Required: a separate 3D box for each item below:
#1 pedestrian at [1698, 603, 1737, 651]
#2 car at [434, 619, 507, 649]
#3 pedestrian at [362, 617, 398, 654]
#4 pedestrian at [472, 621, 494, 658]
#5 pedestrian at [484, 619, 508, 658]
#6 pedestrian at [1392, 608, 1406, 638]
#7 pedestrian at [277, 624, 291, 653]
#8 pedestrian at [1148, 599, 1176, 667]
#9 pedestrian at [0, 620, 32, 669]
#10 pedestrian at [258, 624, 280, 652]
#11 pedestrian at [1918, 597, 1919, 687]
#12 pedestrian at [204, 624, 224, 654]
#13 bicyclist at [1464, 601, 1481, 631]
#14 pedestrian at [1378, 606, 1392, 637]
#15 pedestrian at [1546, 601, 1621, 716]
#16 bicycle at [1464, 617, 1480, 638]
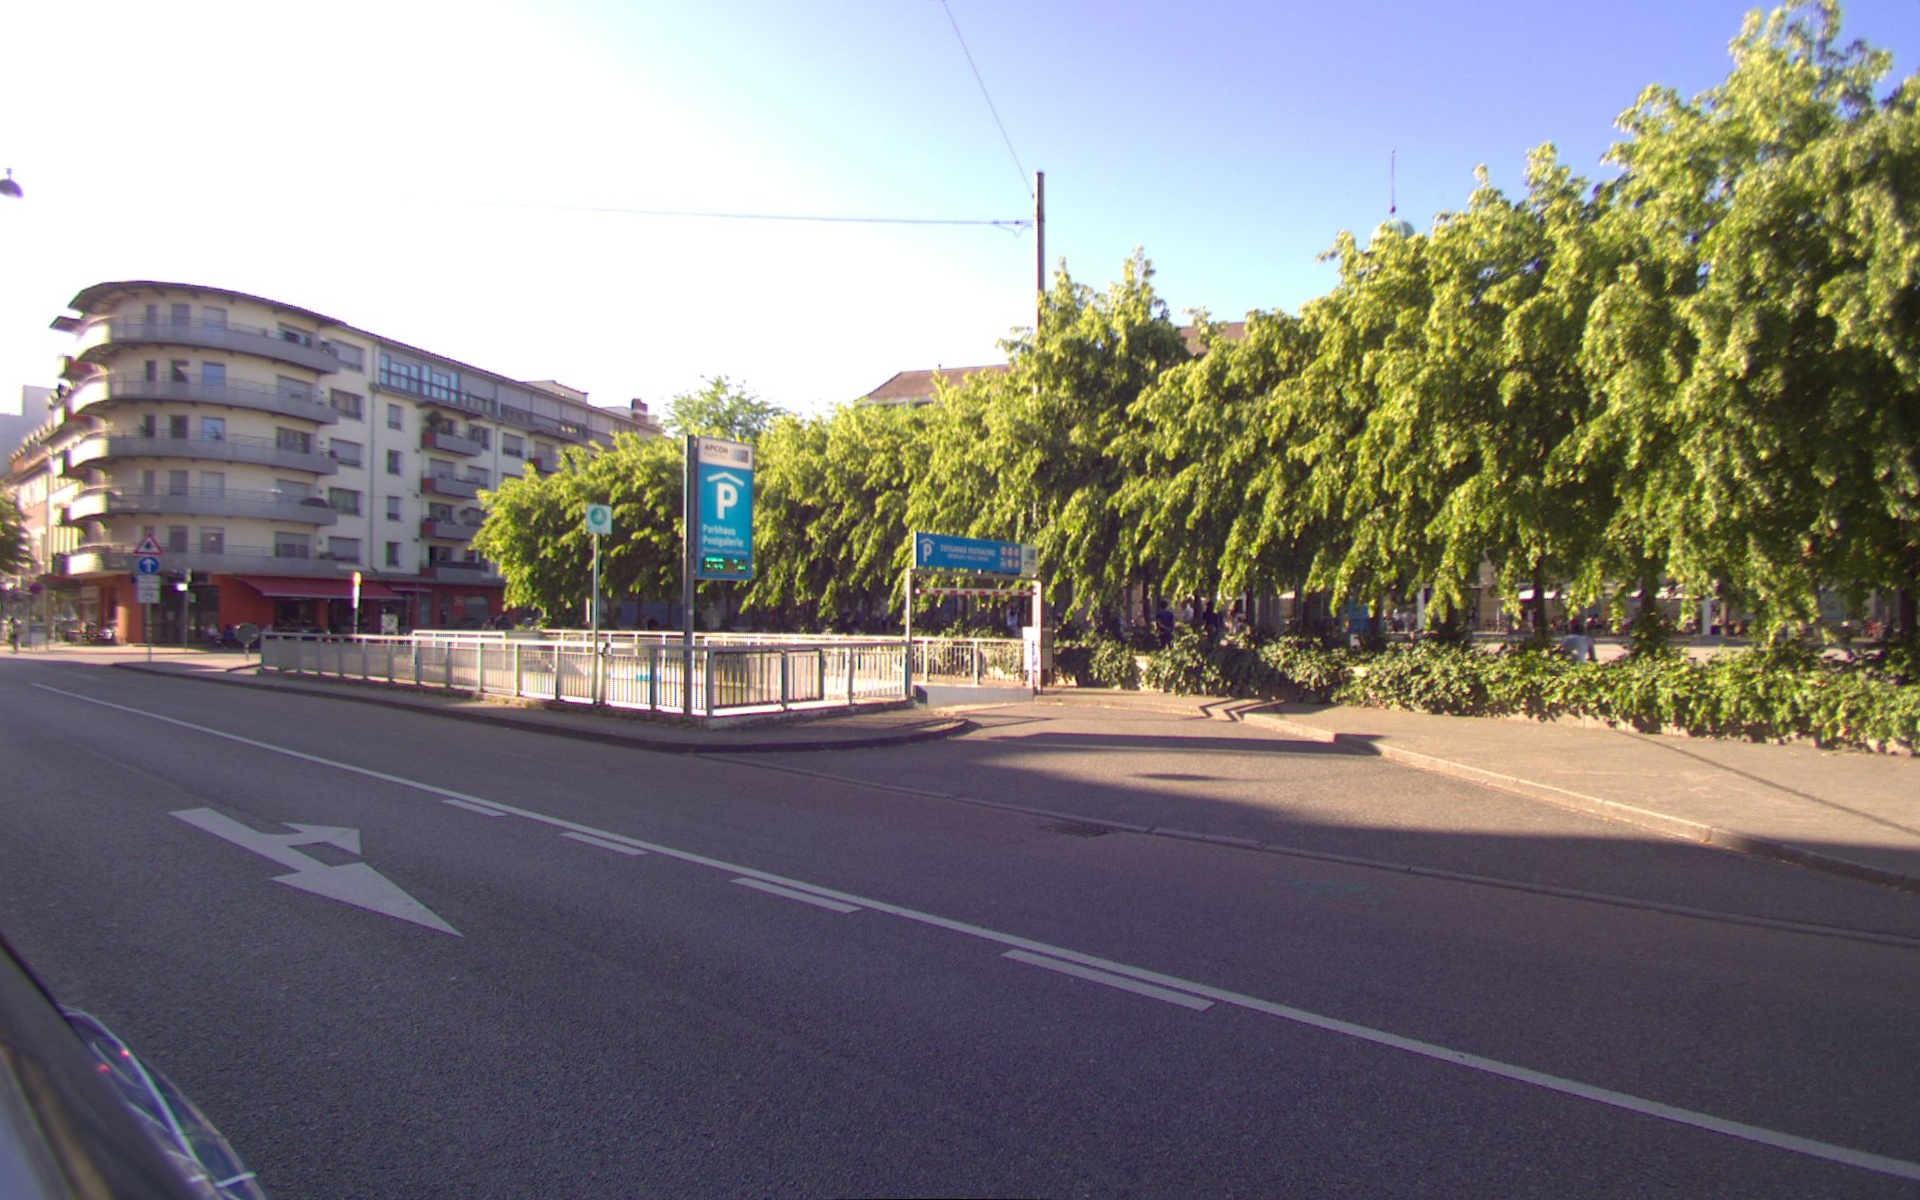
[{"bbox_3d":[28.118,1.008,37.570,0.889,1.771,0.734,-1,-1,10],"label":"pedestrian"},{"bbox_3d":[-30.548,2.116,63.244,1.983,1.763,3.977,-1,-1,17],"label":"car"},{"bbox_3d":[-32.398,1.994,56.562,1.251,2.029,1.226,-1,-1,19],"label":"pedestrian"},{"bbox_3d":[-22.249,1.844,47.181,0.697,1.719,0.667,-1,-1,33],"label":"pedestrian"},{"bbox_3d":[-21.894,1.807,47.767,0.753,1.819,0.748,-1,-1,25],"label":"pedestrian"},{"bbox_3d":[28.407,1.485,65.521,0.751,1.948,0.938,-1,-1,20],"label":"pedestrian"},{"bbox_3d":[-35.338,2.008,52.933,0.573,1.501,0.794,0,-1,-36],"label":"pedestrian"},{"bbox_3d":[5.140,0.833,25.706,0.672,1.683,0.843,-1,-1,13],"label":"pedestrian"},{"bbox_3d":[-39.859,1.860,42.456,1.003,2.029,1.203,-1,0,-21],"label":"pedestrian"},{"bbox_3d":[-36.758,2.012,53.813,0.782,1.473,0.582,0,-1,3],"label":"pedestrian"},{"bbox_3d":[12.327,0.846,12.384,0.885,1.771,0.738,0,-1,-39],"label":"pedestrian"},{"bbox_3d":[-37.761,1.975,51.243,0.780,1.472,0.583,0,-1,-40],"label":"pedestrian"},{"bbox_3d":[25.068,0.784,49.517,0.671,1.439,0.691,-1,-1,30],"label":"bicyclist"},{"bbox_3d":[27.690,1.392,65.928,0.751,1.948,0.938,-1,-1,20],"label":"pedestrian"},{"bbox_3d":[9.976,0.911,16.202,0.885,1.771,0.738,0,-1,-39],"label":"pedestrian"},{"bbox_3d":[25.053,1.324,49.511,0.587,0.961,1.886,-1,0,31],"label":"bicycle"}]
